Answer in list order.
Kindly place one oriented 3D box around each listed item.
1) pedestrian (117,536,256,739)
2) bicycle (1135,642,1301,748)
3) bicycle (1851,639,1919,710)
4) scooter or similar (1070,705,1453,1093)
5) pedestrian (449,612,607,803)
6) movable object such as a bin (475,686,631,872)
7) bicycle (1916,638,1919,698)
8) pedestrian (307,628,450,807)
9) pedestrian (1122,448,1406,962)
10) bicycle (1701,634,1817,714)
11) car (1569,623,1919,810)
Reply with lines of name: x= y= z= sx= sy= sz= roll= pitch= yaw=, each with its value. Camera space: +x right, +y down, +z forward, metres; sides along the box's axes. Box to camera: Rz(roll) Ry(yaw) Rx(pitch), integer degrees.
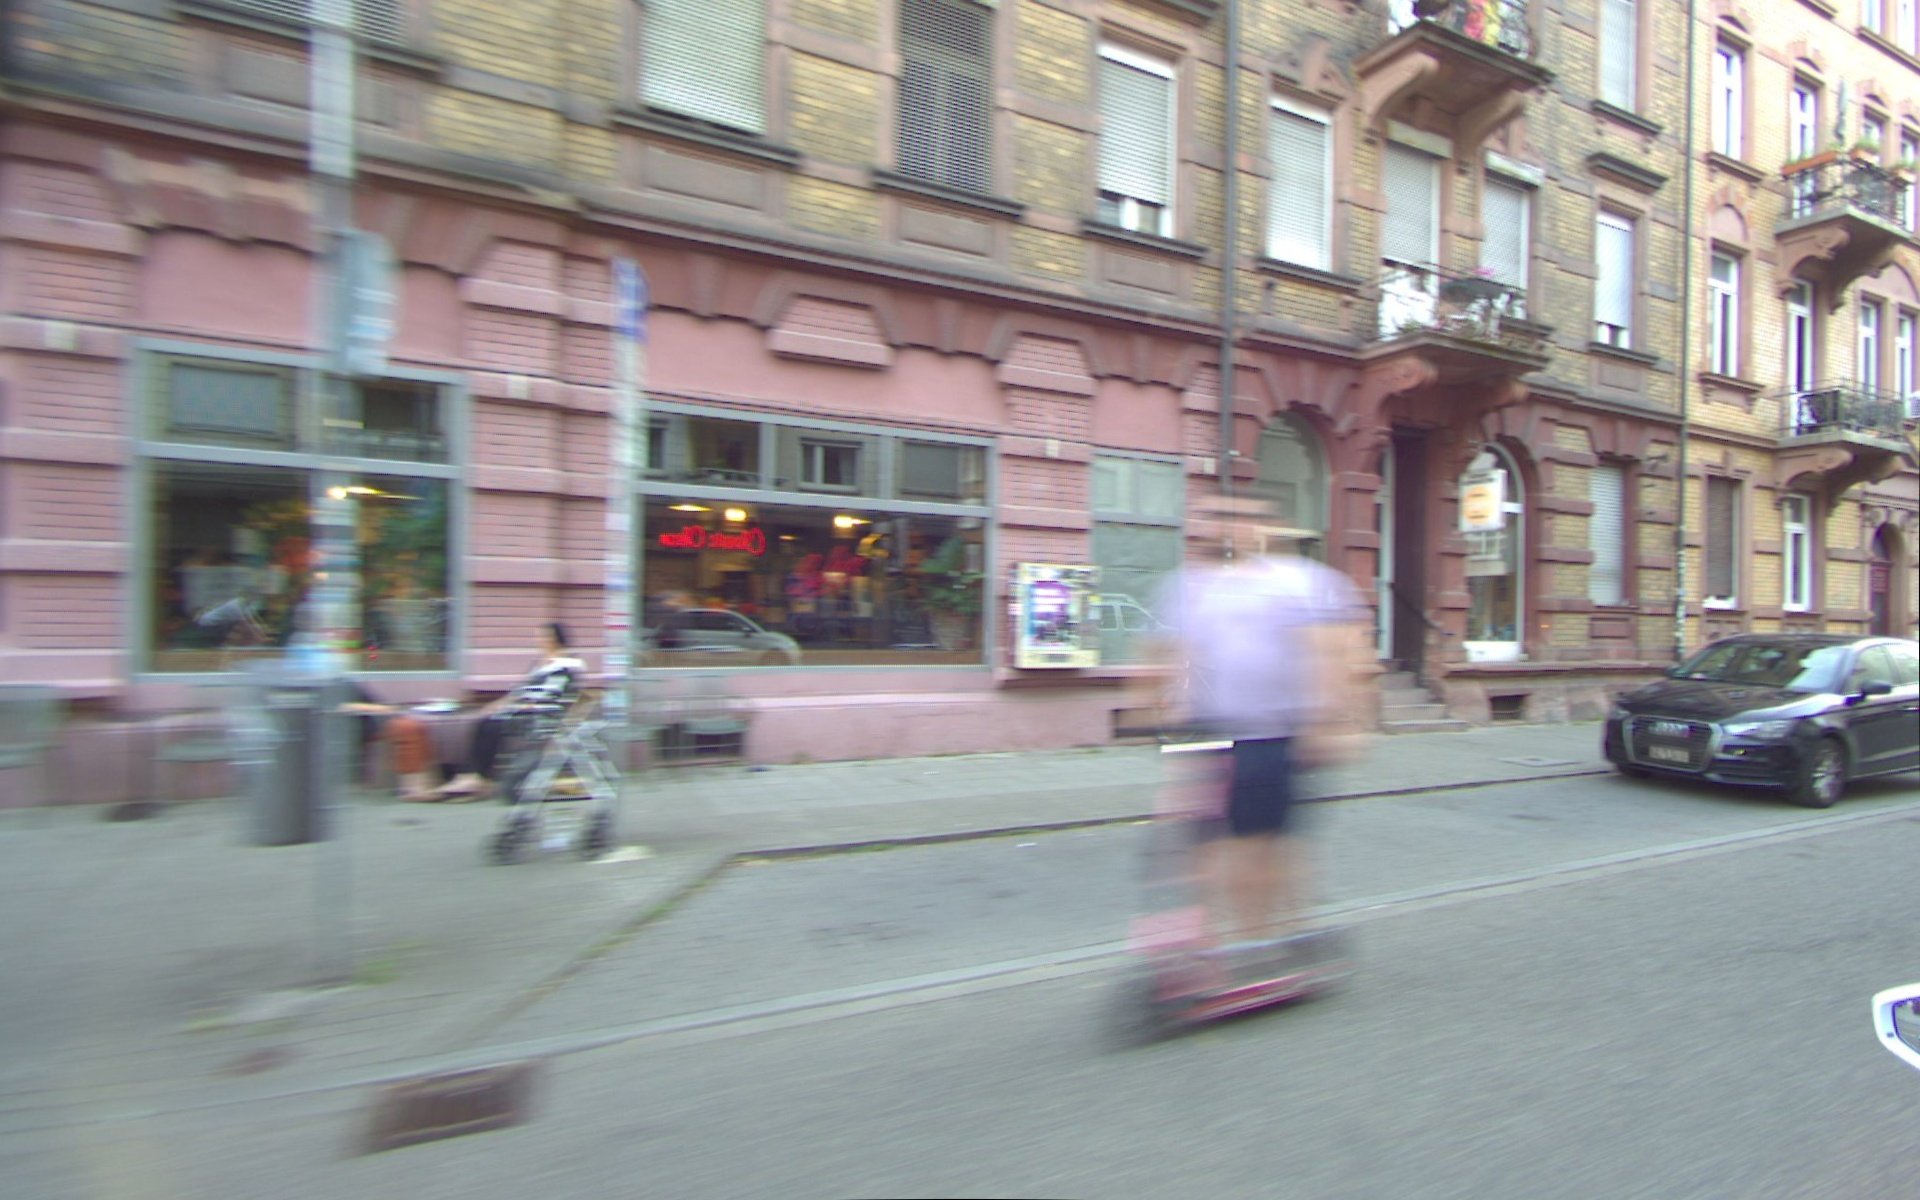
pedestrian: x=-6.820 y=0.295 z=8.881 sx=0.652 sy=1.719 sz=0.657 roll=1 pitch=4 yaw=17
bicycle: x=2.802 y=0.999 z=10.861 sx=1.871 sy=1.067 sz=0.424 roll=1 pitch=0 yaw=-24
bicycle: x=16.439 y=1.290 z=17.688 sx=1.594 sy=1.138 sz=0.733 roll=1 pitch=1 yaw=-34
scooter or similar: x=1.119 y=1.007 z=3.793 sx=1.157 sy=1.119 sz=0.804 roll=1 pitch=-1 yaw=-27
pedestrian: x=-3.185 y=0.747 z=7.417 sx=0.902 sy=1.271 sz=0.642 roll=0 pitch=3 yaw=-42
movable object such as a bin: x=-2.380 y=0.994 z=5.847 sx=0.721 sy=0.928 sz=0.757 roll=2 pitch=-1 yaw=-30
bicycle: x=19.092 y=1.313 z=19.242 sx=1.737 sy=1.139 sz=0.547 roll=1 pitch=2 yaw=-27
pedestrian: x=-4.019 y=0.796 z=6.995 sx=0.781 sy=1.158 sz=0.502 roll=2 pitch=-1 yaw=-26
pedestrian: x=1.121 y=0.355 z=3.804 sx=0.664 sy=1.682 sz=0.804 roll=1 pitch=-1 yaw=-26
bicycle: x=12.595 y=1.142 z=15.816 sx=2.019 sy=1.187 sz=0.525 roll=1 pitch=1 yaw=-24
car: x=7.862 y=0.978 z=9.553 sx=3.801 sy=1.439 sz=1.689 roll=1 pitch=0 yaw=-25
